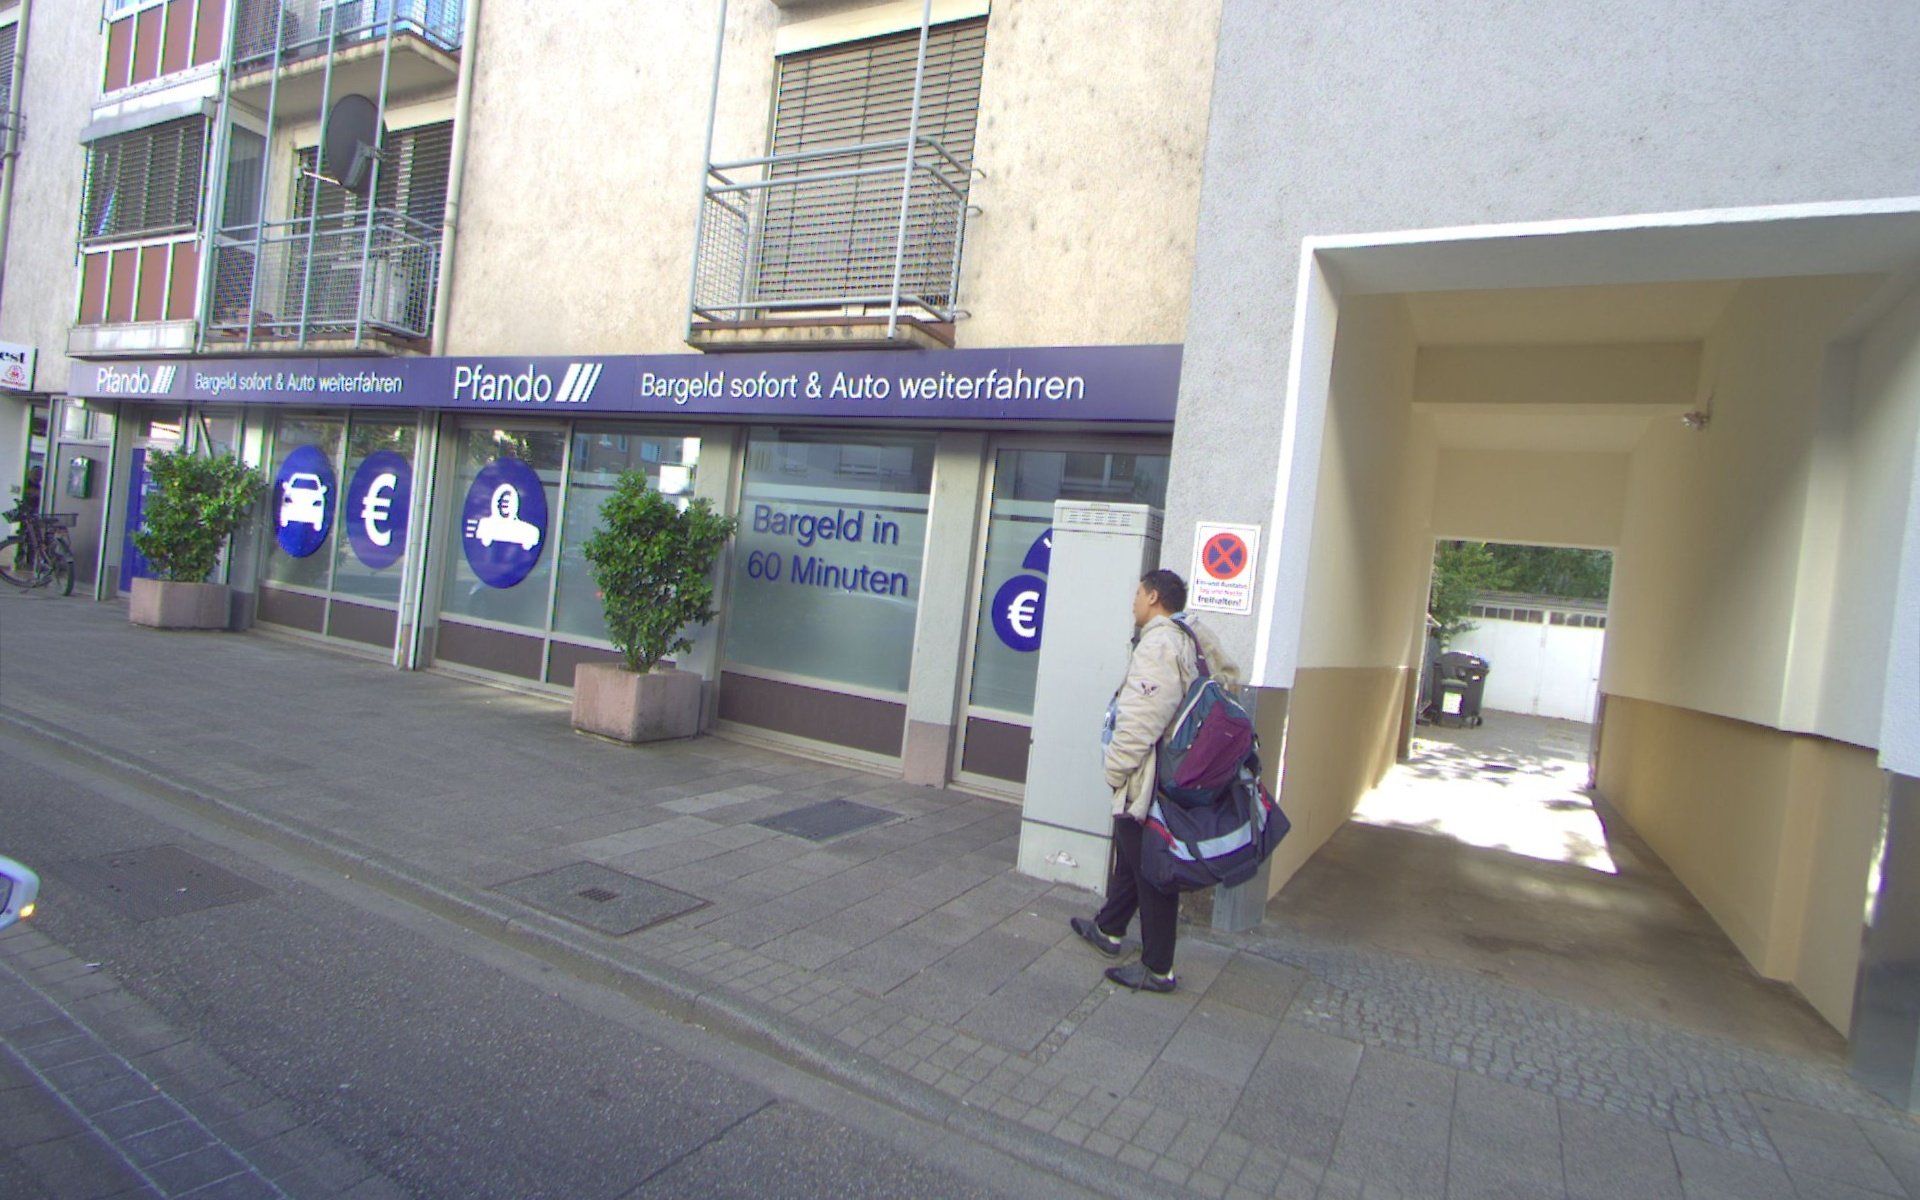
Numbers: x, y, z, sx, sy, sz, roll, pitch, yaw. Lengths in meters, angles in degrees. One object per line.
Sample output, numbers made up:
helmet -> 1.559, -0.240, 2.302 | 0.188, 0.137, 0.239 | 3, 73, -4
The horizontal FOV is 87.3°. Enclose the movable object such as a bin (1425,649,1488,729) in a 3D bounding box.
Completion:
movable object such as a bin -> 10.109, 1.787, 20.456 | 0.945, 1.426, 1.598 | 7, 1, 29

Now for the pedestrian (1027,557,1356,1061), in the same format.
pedestrian -> 0.912, 0.696, 3.872 | 0.853, 1.593, 0.874 | 8, 3, 29

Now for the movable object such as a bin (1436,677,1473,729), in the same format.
movable object such as a bin -> 9.558, 1.980, 19.452 | 0.518, 0.922, 0.580 | 7, 1, 29

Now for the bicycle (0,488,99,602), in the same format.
bicycle -> -11.847, -0.727, 12.877 | 1.879, 1.280, 0.640 | 7, 1, 32
